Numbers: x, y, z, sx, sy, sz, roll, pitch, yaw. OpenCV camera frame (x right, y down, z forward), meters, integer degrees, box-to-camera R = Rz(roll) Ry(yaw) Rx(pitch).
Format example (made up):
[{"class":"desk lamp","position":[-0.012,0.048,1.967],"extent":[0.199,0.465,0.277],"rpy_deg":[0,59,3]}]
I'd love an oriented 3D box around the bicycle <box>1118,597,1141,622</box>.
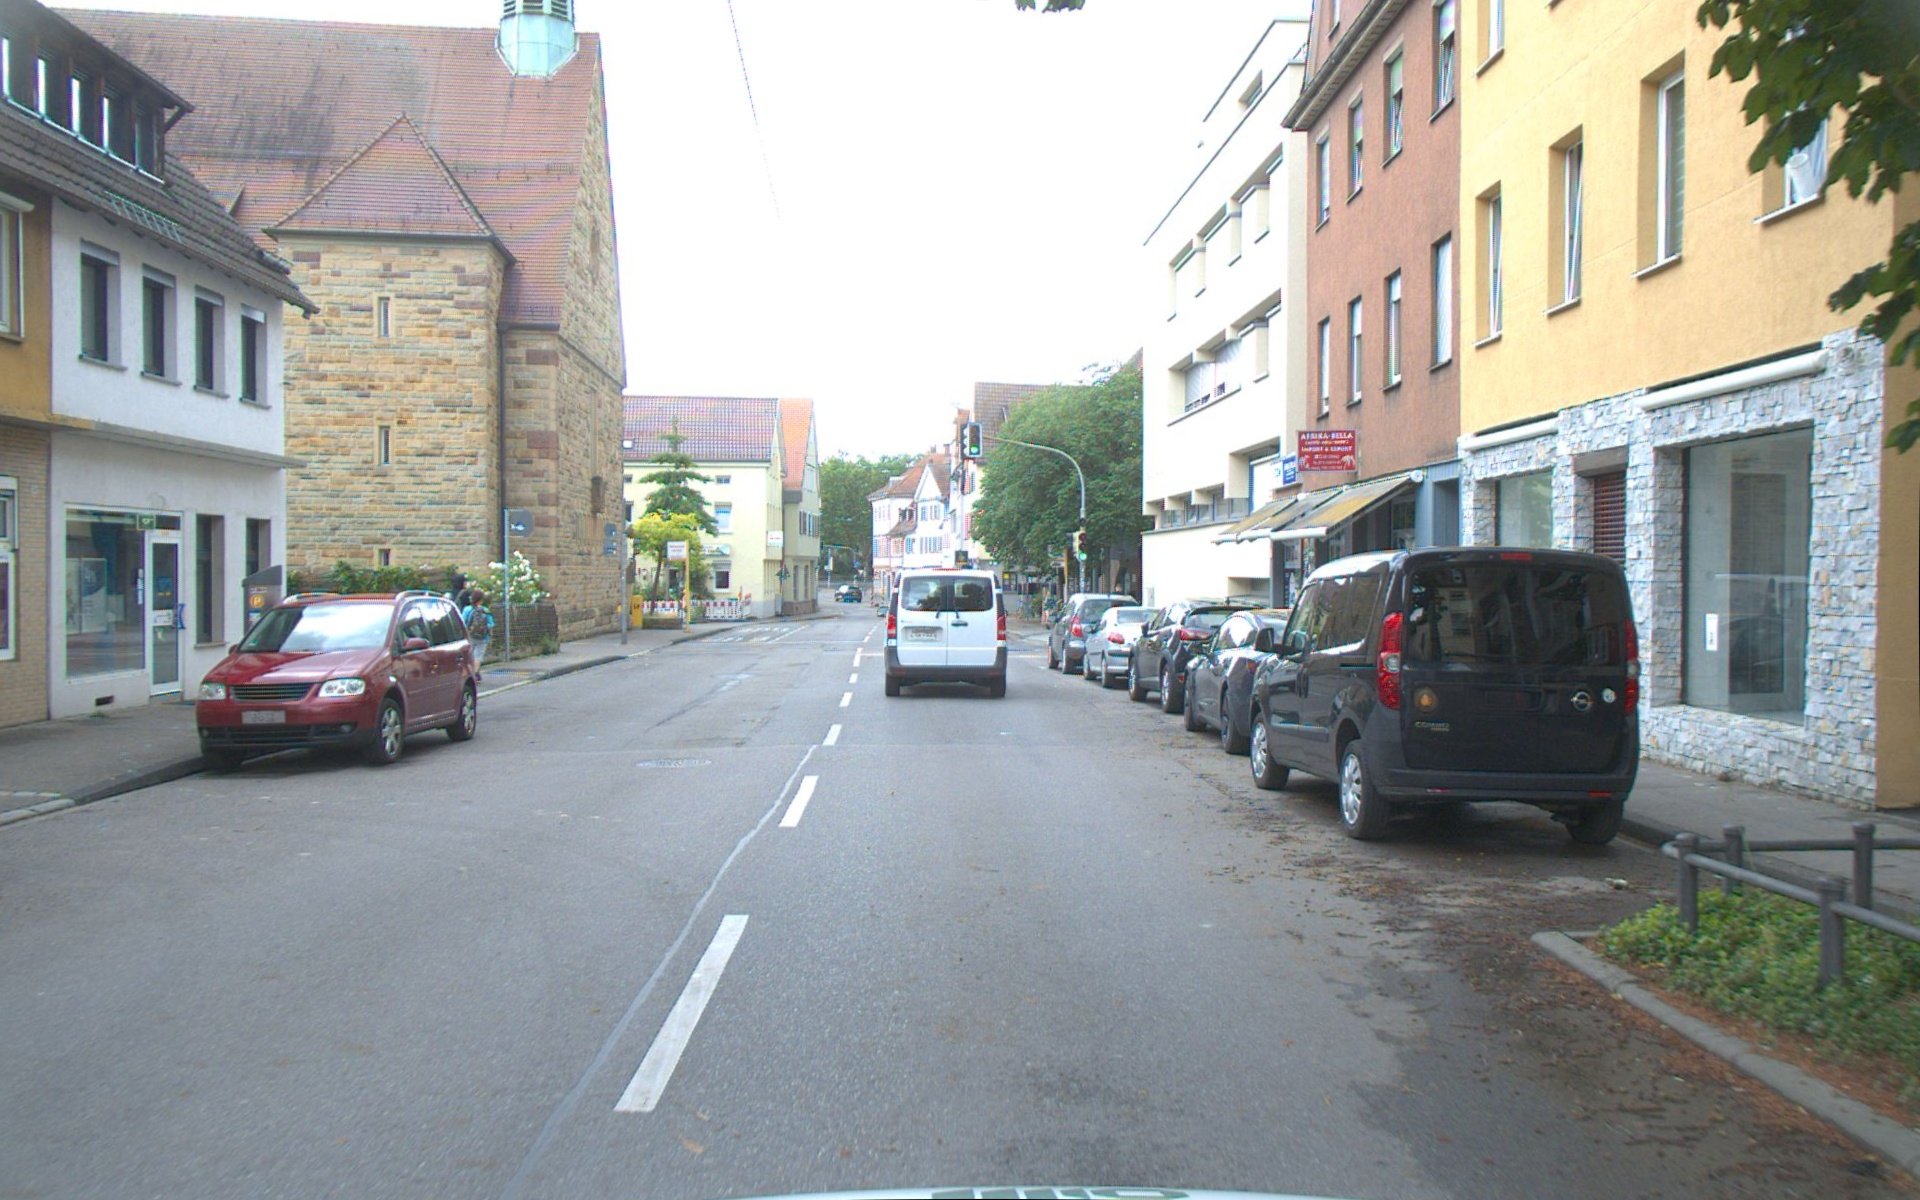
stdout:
[{"class":"bicycle","position":[7.595,0.426,74.349],"extent":[0.534,1.088,2.288],"rpy_deg":[-1,0,-7]}]

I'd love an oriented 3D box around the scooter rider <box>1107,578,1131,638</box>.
[{"class":"scooter rider","position":[4.460,0.237,46.460],"extent":[0.445,1.660,0.502],"rpy_deg":[-2,-1,-16]}]

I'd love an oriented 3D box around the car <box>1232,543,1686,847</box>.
[{"class":"car","position":[3.363,0.558,12.120],"extent":[1.783,1.812,4.400],"rpy_deg":[0,0,-3]}]

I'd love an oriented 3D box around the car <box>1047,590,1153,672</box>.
[{"class":"car","position":[2.817,0.593,34.023],"extent":[1.677,1.587,3.783],"rpy_deg":[0,0,-3]}]

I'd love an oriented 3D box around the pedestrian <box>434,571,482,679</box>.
[{"class":"pedestrian","position":[-8.999,0.439,29.676],"extent":[0.559,1.880,0.697],"rpy_deg":[3,0,-1]}]

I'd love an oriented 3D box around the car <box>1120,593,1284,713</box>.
[{"class":"car","position":[3.409,0.692,23.987],"extent":[1.570,1.545,4.207],"rpy_deg":[-1,0,-3]}]

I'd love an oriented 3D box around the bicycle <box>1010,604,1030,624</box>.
[{"class":"bicycle","position":[3.456,0.806,95.546],"extent":[0.492,1.126,1.627],"rpy_deg":[-1,0,-22]}]

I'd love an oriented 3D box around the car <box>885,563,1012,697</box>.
[{"class":"car","position":[-0.196,0.440,26.068],"extent":[1.834,1.945,3.999],"rpy_deg":[0,0,-1]}]

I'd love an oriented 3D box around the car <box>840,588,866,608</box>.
[{"class":"car","position":[-11.291,-0.256,174.523],"extent":[1.904,2.049,3.981],"rpy_deg":[1,0,-17]}]

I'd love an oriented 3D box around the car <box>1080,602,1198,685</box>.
[{"class":"car","position":[3.124,0.729,29.456],"extent":[1.520,1.356,3.810],"rpy_deg":[0,0,-3]}]

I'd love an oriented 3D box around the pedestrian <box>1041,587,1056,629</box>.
[{"class":"pedestrian","position":[3.786,0.331,70.587],"extent":[0.589,1.745,0.860],"rpy_deg":[0,0,5]}]

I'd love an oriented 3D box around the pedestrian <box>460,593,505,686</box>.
[{"class":"pedestrian","position":[-8.353,0.681,28.935],"extent":[0.559,1.581,0.697],"rpy_deg":[2,0,-1]}]

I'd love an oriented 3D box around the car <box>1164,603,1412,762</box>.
[{"class":"car","position":[3.377,0.782,17.889],"extent":[1.715,1.430,4.510],"rpy_deg":[-1,0,-1]}]

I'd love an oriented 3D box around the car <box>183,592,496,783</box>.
[{"class":"car","position":[-6.234,0.779,17.187],"extent":[1.668,1.601,4.449],"rpy_deg":[-2,1,-2]}]
